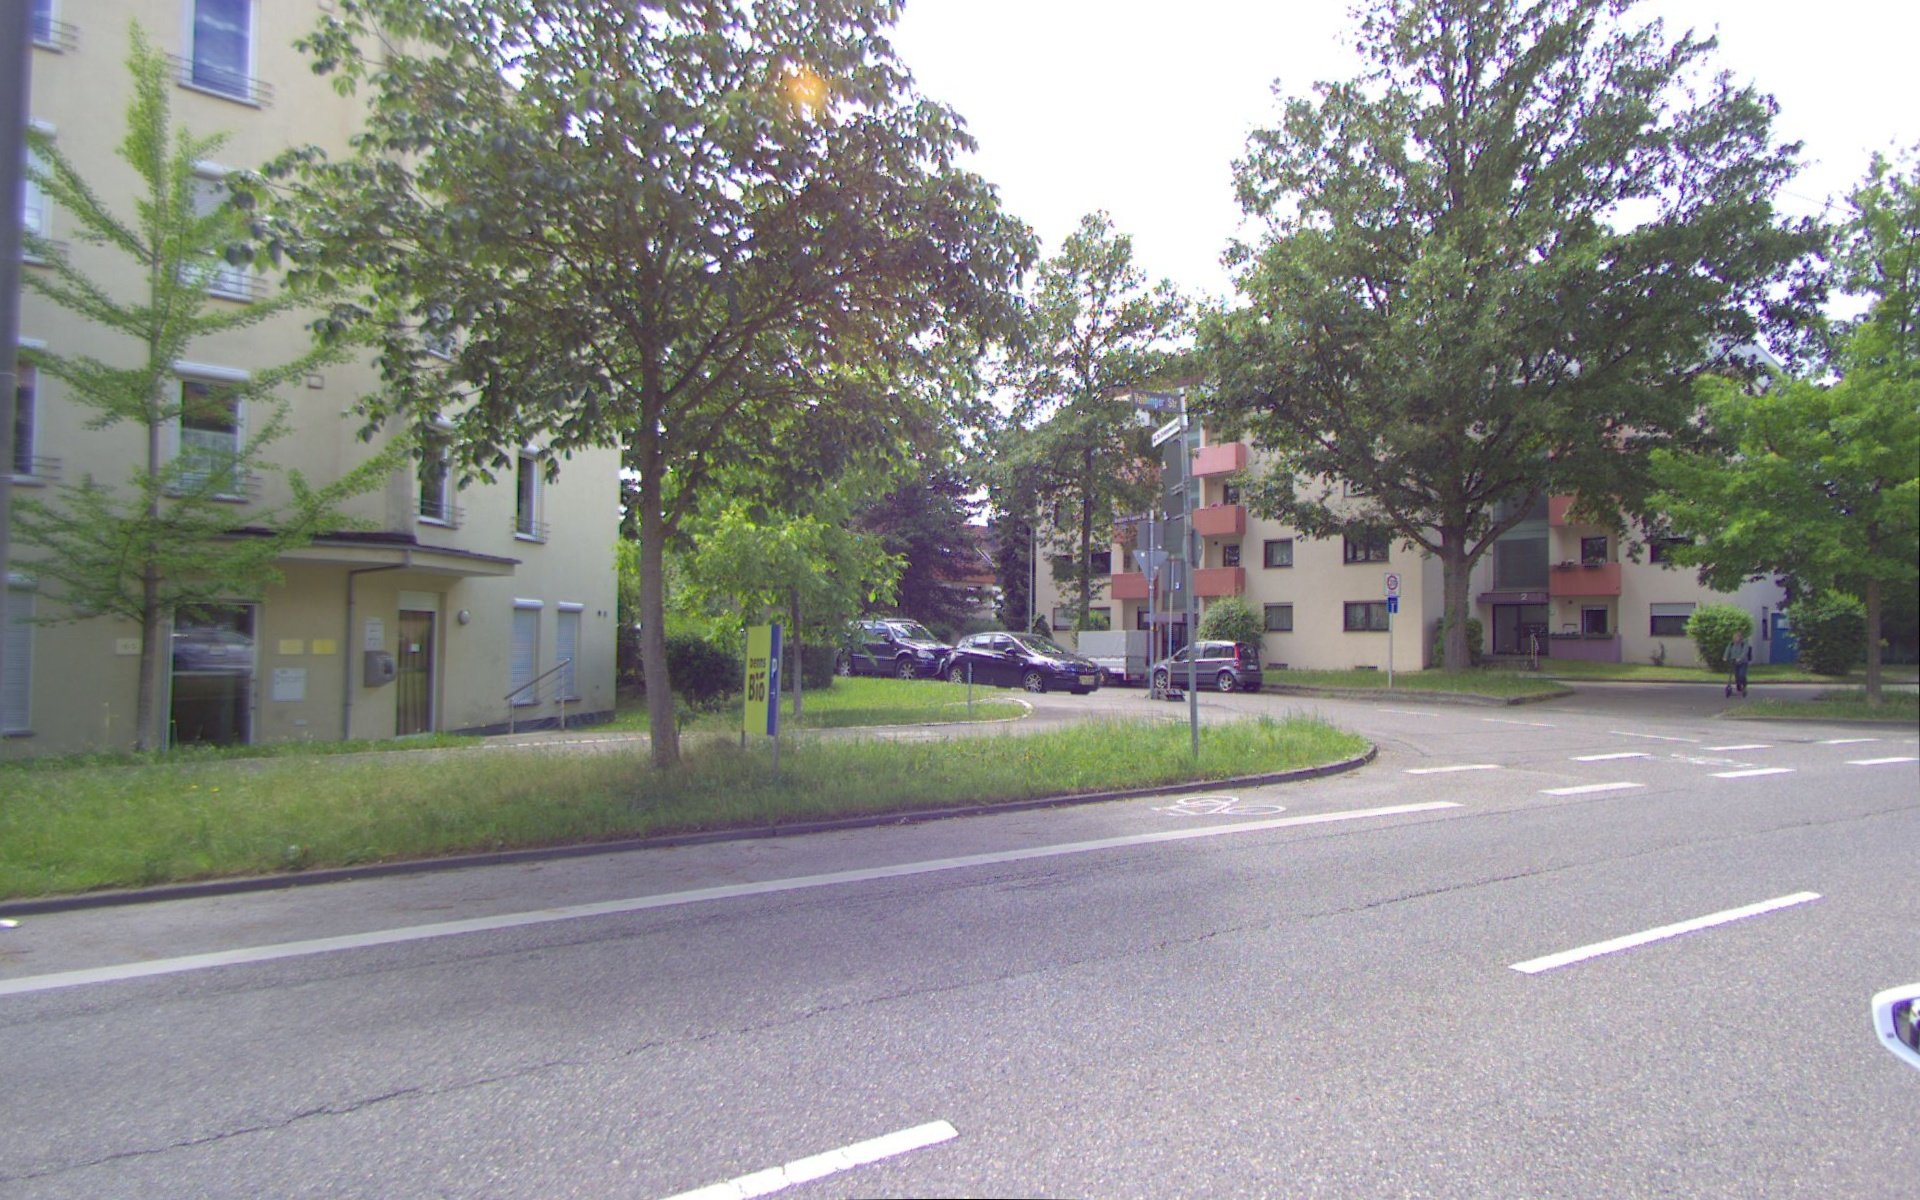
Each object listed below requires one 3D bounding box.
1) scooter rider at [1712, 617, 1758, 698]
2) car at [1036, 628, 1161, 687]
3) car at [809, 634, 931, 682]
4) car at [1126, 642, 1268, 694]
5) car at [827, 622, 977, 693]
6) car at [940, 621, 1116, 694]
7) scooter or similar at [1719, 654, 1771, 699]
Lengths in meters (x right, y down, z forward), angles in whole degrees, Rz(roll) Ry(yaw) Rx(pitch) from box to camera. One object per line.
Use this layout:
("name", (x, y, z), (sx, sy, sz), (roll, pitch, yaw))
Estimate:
("scooter rider", (20.218, 1.490, 26.206), (0.785, 2.040, 0.673), (2, 0, -30))
("car", (4.673, 1.997, 34.243), (1.832, 1.868, 3.952), (2, -5, -42))
("car", (-3.541, 2.234, 39.464), (4.337, 1.817, 2.124), (-1, -2, 28))
("car", (7.217, 2.023, 30.830), (3.945, 1.471, 1.687), (-2, -3, 44))
("car", (-1.687, 1.527, 27.922), (1.857, 1.675, 4.379), (2, 0, -41))
("car", (1.538, 1.304, 23.883), (1.725, 1.417, 4.100), (2, 0, -42))
("scooter or similar", (20.393, 1.966, 26.083), (0.934, 1.098, 0.753), (2, 0, -30))
